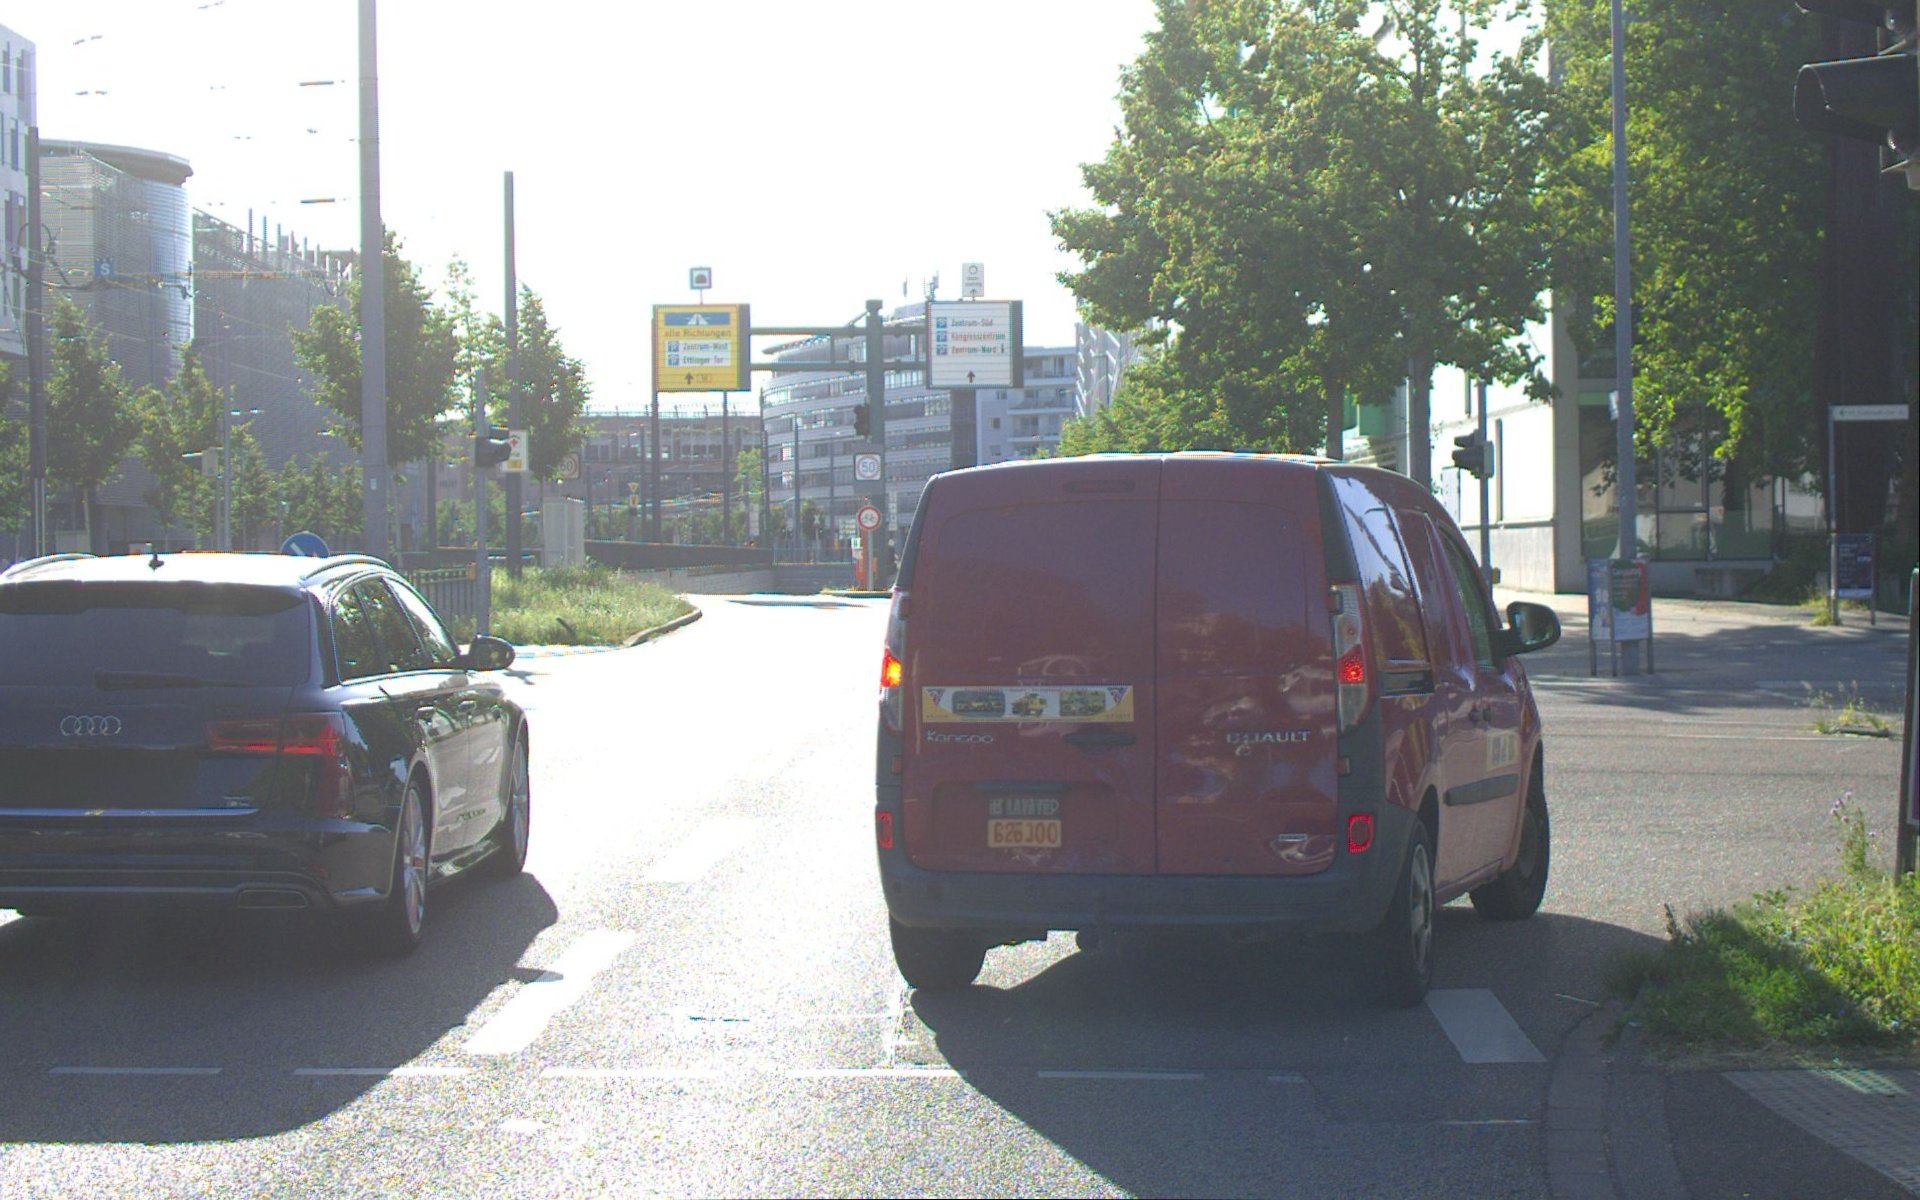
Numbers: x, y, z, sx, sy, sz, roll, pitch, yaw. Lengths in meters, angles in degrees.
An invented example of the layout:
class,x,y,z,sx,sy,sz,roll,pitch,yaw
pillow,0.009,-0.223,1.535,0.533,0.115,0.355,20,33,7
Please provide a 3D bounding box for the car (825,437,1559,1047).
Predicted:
class,x,y,z,sx,sy,sz,roll,pitch,yaw
car,1.029,0.395,12.518,1.849,1.808,4.111,1,1,15

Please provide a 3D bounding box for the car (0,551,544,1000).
class,x,y,z,sx,sy,sz,roll,pitch,yaw
car,-2.842,0.539,13.543,1.812,1.422,4.690,1,1,0

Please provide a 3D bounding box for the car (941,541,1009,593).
class,x,y,z,sx,sy,sz,roll,pitch,yaw
car,0.447,-0.996,102.821,1.993,1.460,4.000,0,2,0
